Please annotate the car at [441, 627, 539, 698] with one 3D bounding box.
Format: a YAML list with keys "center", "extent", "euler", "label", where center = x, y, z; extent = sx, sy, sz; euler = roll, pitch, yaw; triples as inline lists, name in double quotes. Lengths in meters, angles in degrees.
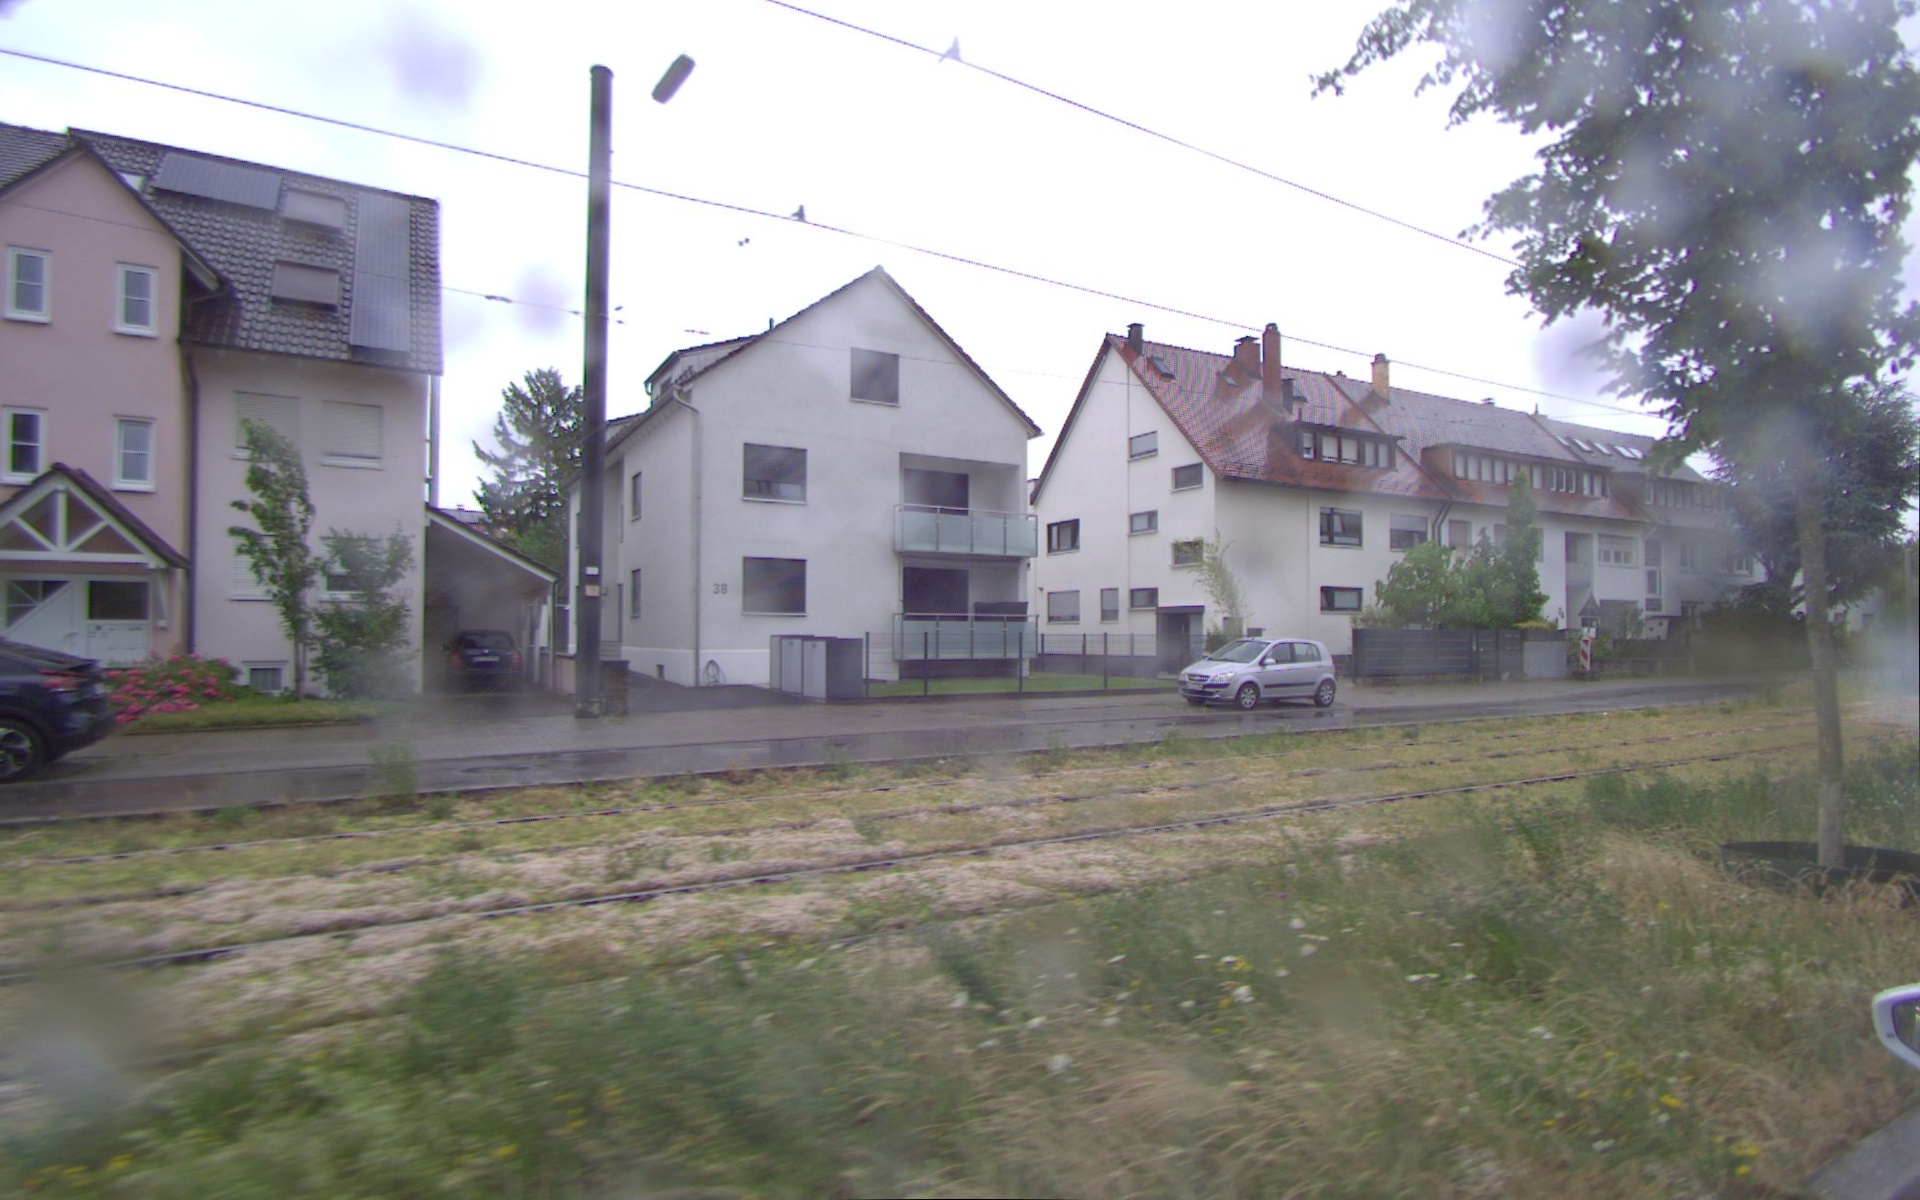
- center: [-11.528, 1.472, 24.496]
  extent: [1.820, 1.521, 3.968]
  euler: [2, -2, -30]
  label: "car"

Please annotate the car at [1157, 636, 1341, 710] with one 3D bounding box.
- center: [6.358, 1.562, 22.041]
  extent: [3.617, 1.432, 1.983]
  euler: [2, -2, -32]
  label: "car"

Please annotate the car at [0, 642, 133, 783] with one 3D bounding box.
- center: [-11.738, 1.227, 10.820]
  extent: [4.128, 1.446, 1.827]
  euler: [1, -1, -32]
  label: "car"
